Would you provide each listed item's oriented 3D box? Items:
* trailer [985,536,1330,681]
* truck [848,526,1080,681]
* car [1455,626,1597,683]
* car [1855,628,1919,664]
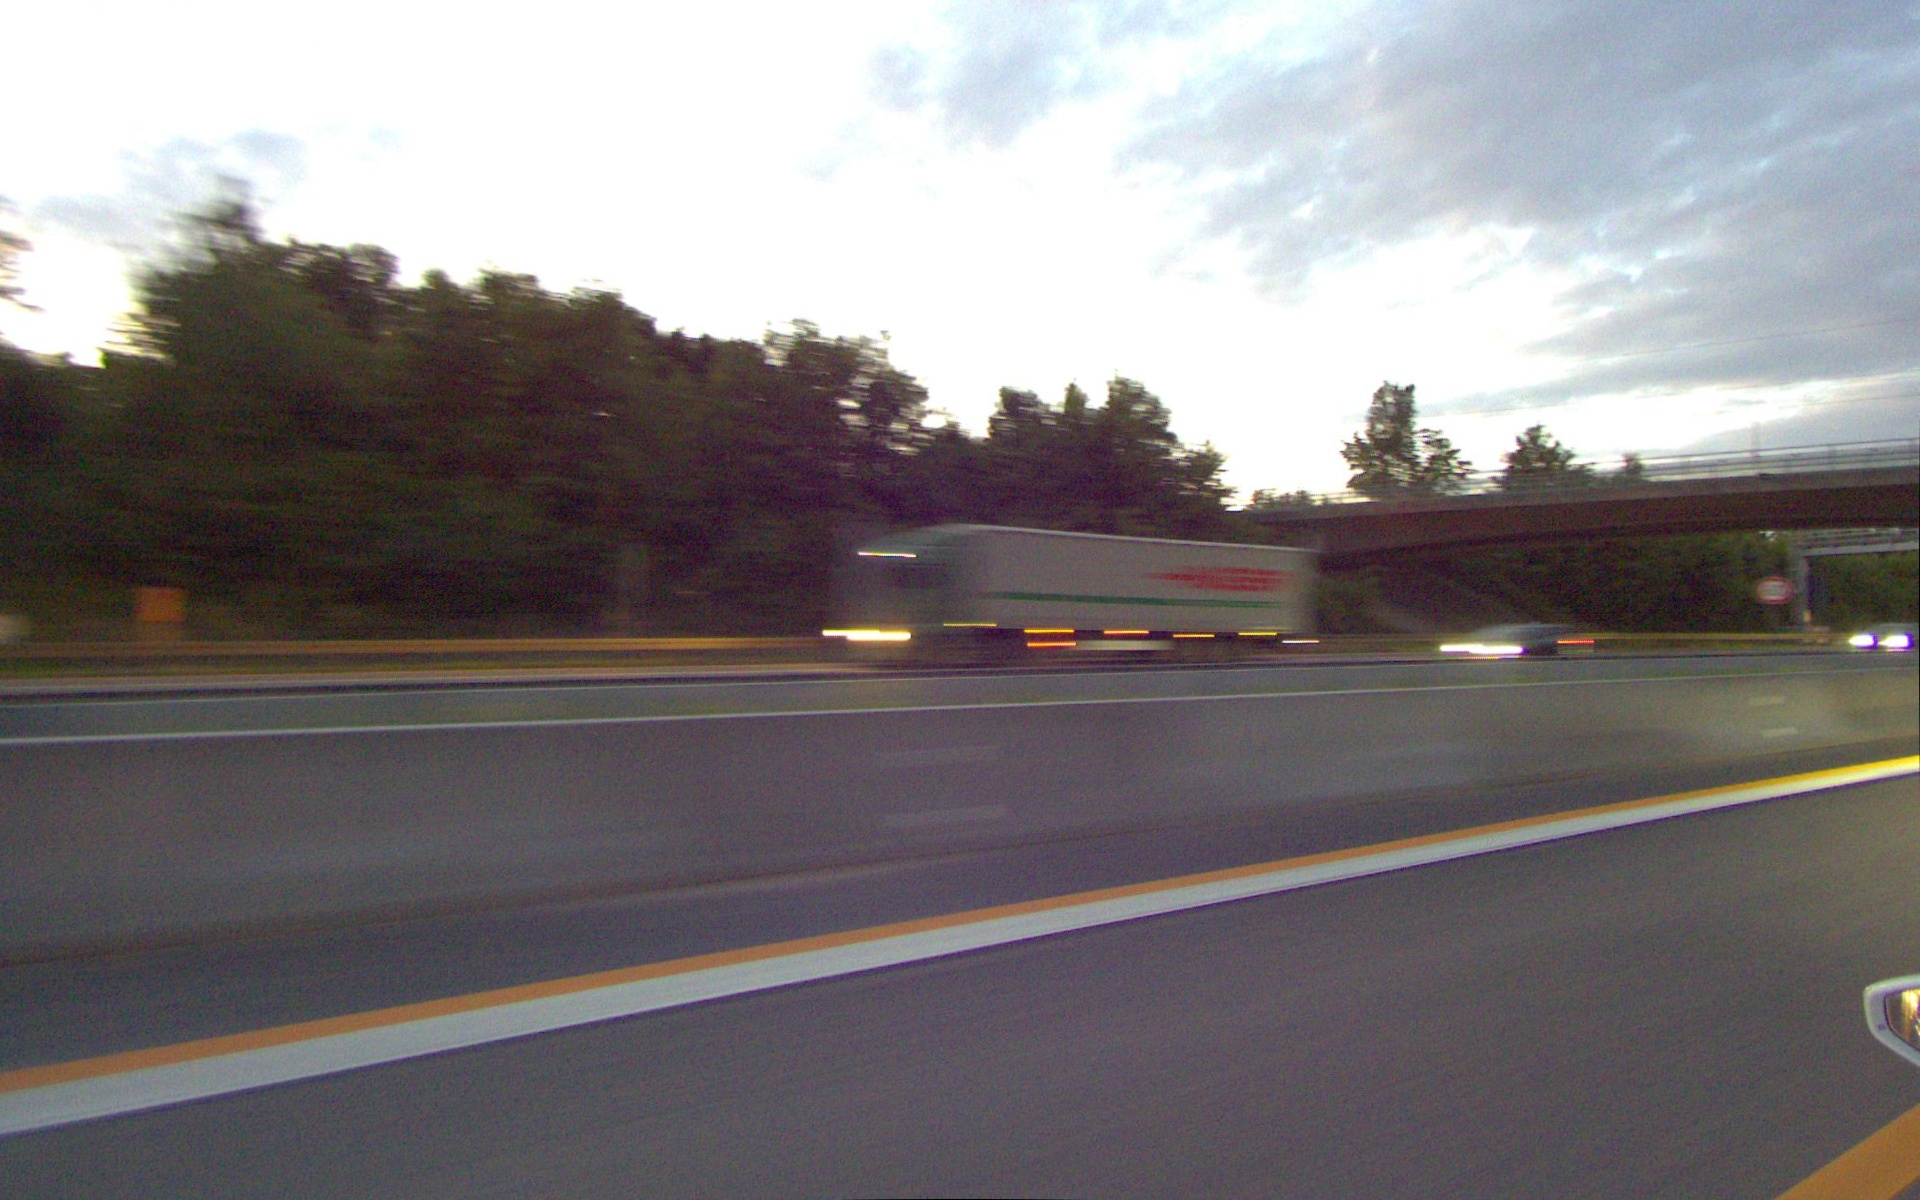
[{"bbox_3d":[6.877,0.381,33.595,12.246,4.262,2.767,2,0,-28],"label":"trailer"},{"bbox_3d":[0.139,0.156,29.992,6.305,4.227,2.766,2,0,-28],"label":"truck"},{"bbox_3d":[18.762,1.776,33.256,4.458,1.698,1.986,2,0,-28],"label":"car"},{"bbox_3d":[47.889,2.328,51.241,4.528,1.696,1.984,2,0,-30],"label":"car"}]
